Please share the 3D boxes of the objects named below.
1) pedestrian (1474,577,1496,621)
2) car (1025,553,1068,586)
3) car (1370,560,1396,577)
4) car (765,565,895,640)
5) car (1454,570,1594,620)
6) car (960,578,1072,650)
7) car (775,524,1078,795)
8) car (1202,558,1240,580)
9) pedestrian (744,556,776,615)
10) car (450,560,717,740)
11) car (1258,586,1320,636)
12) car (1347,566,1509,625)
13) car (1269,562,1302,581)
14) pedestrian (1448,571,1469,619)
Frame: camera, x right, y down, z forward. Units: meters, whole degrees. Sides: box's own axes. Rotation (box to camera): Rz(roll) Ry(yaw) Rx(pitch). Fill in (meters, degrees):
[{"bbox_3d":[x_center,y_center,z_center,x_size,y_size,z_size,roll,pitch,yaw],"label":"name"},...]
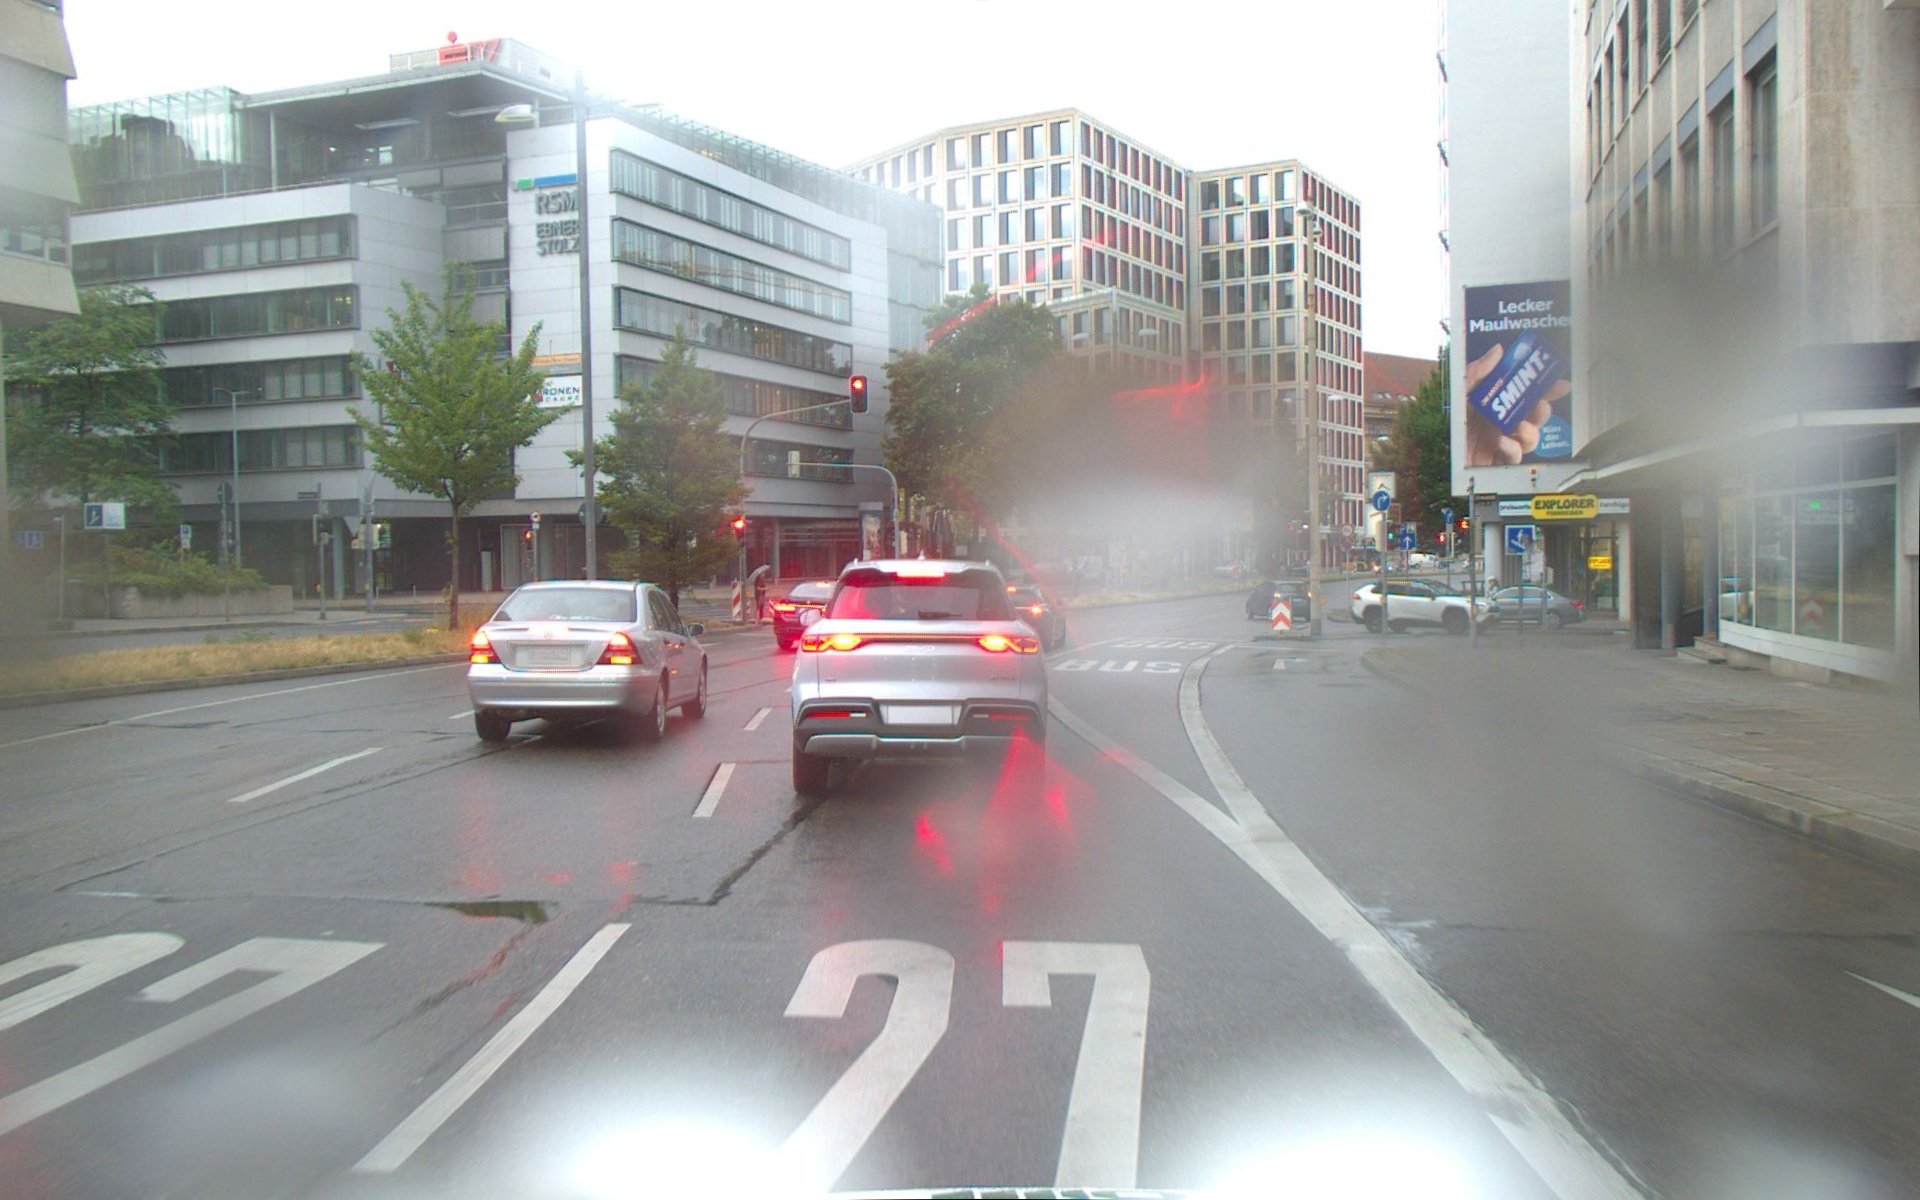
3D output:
[{"bbox_3d":[18.693,-0.046,58.901,0.712,1.551,0.760,0,0,16],"label":"pedestrian"},{"bbox_3d":[5.893,-2.046,112.464,1.701,2.199,4.495,1,1,19],"label":"car"},{"bbox_3d":[45.253,-3.369,176.877,1.955,1.735,3.996,1,3,27],"label":"car"},{"bbox_3d":[-2.814,0.026,36.780,1.913,1.556,4.004,0,1,10],"label":"car"},{"bbox_3d":[18.680,-0.179,54.792,4.254,1.536,1.916,2,1,23],"label":"car"},{"bbox_3d":[1.342,0.277,37.954,1.913,1.556,4.004,0,1,12],"label":"car"},{"bbox_3d":[-0.303,0.352,12.932,1.953,1.739,4.481,0,1,-3],"label":"car"},{"bbox_3d":[22.352,-2.645,141.345,1.955,1.735,4.304,1,3,28],"label":"car"},{"bbox_3d":[-6.041,-0.431,49.911,0.903,1.768,0.729,0,0,-4],"label":"pedestrian"},{"bbox_3d":[-3.487,0.392,16.071,1.648,1.512,4.196,0,1,0],"label":"car"},{"bbox_3d":[12.765,0.407,64.426,2.003,1.796,4.360,1,1,6],"label":"car"},{"bbox_3d":[14.518,-0.175,51.419,4.450,1.780,1.988,1,1,42],"label":"car"},{"bbox_3d":[31.526,-2.748,159.988,1.955,1.735,4.304,1,3,28],"label":"car"},{"bbox_3d":[17.840,-0.182,59.236,0.712,1.698,0.691,0,0,16],"label":"pedestrian"}]
